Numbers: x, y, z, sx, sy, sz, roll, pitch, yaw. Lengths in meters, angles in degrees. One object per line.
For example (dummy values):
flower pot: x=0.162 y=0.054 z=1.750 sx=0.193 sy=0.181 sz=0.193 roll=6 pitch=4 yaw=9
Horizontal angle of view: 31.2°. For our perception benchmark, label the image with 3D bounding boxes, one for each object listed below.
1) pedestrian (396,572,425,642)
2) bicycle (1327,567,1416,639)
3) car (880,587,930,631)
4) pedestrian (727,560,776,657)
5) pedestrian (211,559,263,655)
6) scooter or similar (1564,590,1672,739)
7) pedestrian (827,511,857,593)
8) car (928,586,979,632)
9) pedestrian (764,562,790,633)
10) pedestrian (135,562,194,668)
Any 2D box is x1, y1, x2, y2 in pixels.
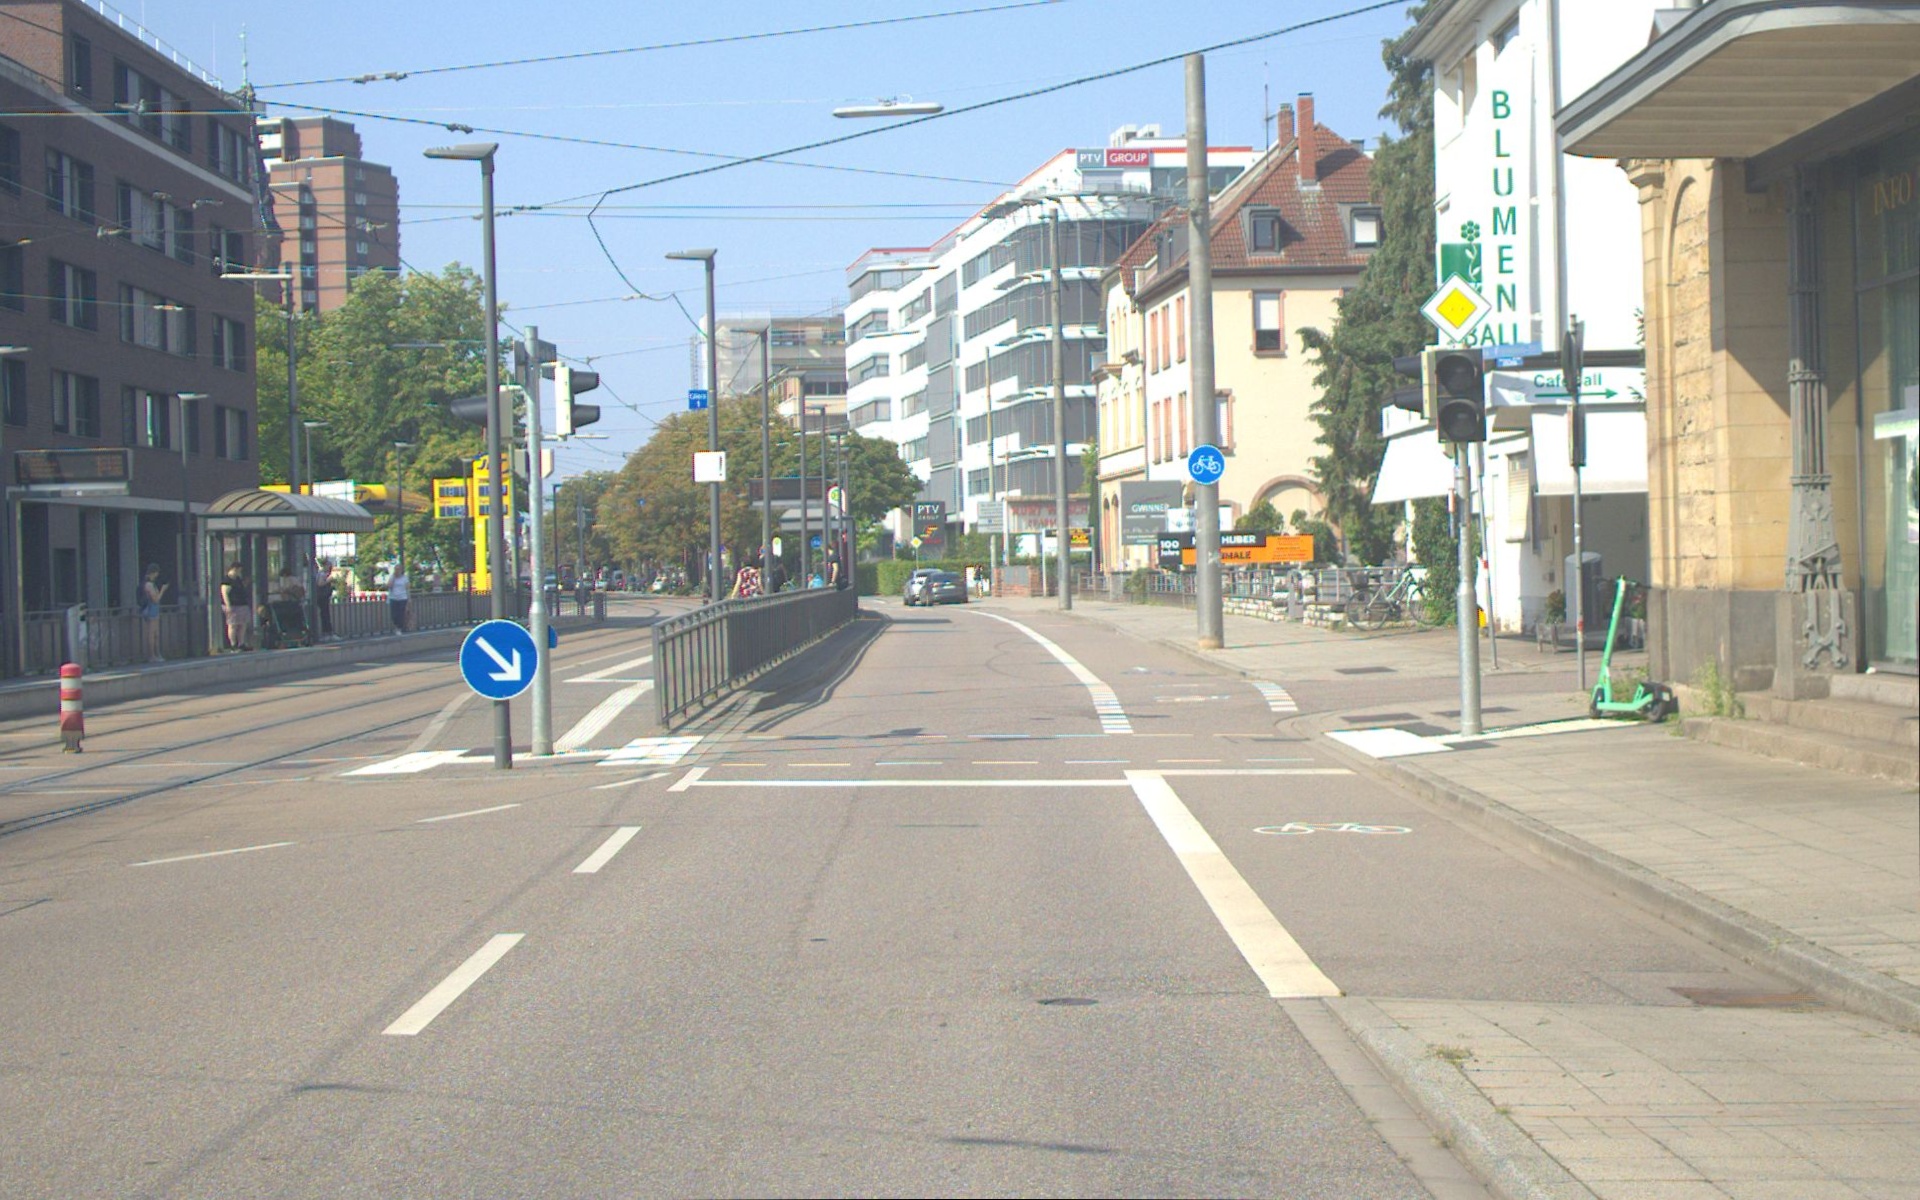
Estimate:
pedestrian: x=-12.293 y=0.155 z=76.939 sx=0.532 sy=1.525 sz=0.702 roll=-3 pitch=0 yaw=-6
bicycle: x=6.936 y=0.058 z=58.041 sx=0.731 sy=1.129 sz=2.840 roll=-5 pitch=0 yaw=-7
car: x=-2.471 y=0.413 z=154.577 sx=2.011 sy=1.852 sz=4.000 roll=-3 pitch=0 yaw=1
pedestrian: x=-3.760 y=0.155 z=62.093 sx=0.720 sy=1.697 sz=0.884 roll=-3 pitch=0 yaw=1
pedestrian: x=-13.432 y=0.128 z=63.867 sx=0.708 sy=1.741 sz=0.799 roll=-3 pitch=0 yaw=1
scooter or similar: x=5.215 y=0.497 z=27.327 sx=0.523 sy=1.130 sz=1.511 roll=-3 pitch=0 yaw=1
pedestrian: x=-2.506 y=-1.021 z=72.854 sx=0.536 sy=1.697 sz=0.582 roll=-3 pitch=0 yaw=-2
car: x=-0.276 y=0.360 z=148.494 sx=2.011 sy=1.852 sz=4.000 roll=-3 pitch=0 yaw=1
pedestrian: x=-4.488 y=-0.059 z=84.473 sx=0.536 sy=1.697 sz=0.582 roll=-3 pitch=0 yaw=-2
pedestrian: x=-13.230 y=0.242 z=57.190 sx=0.708 sy=1.717 sz=0.799 roll=-3 pitch=0 yaw=1
